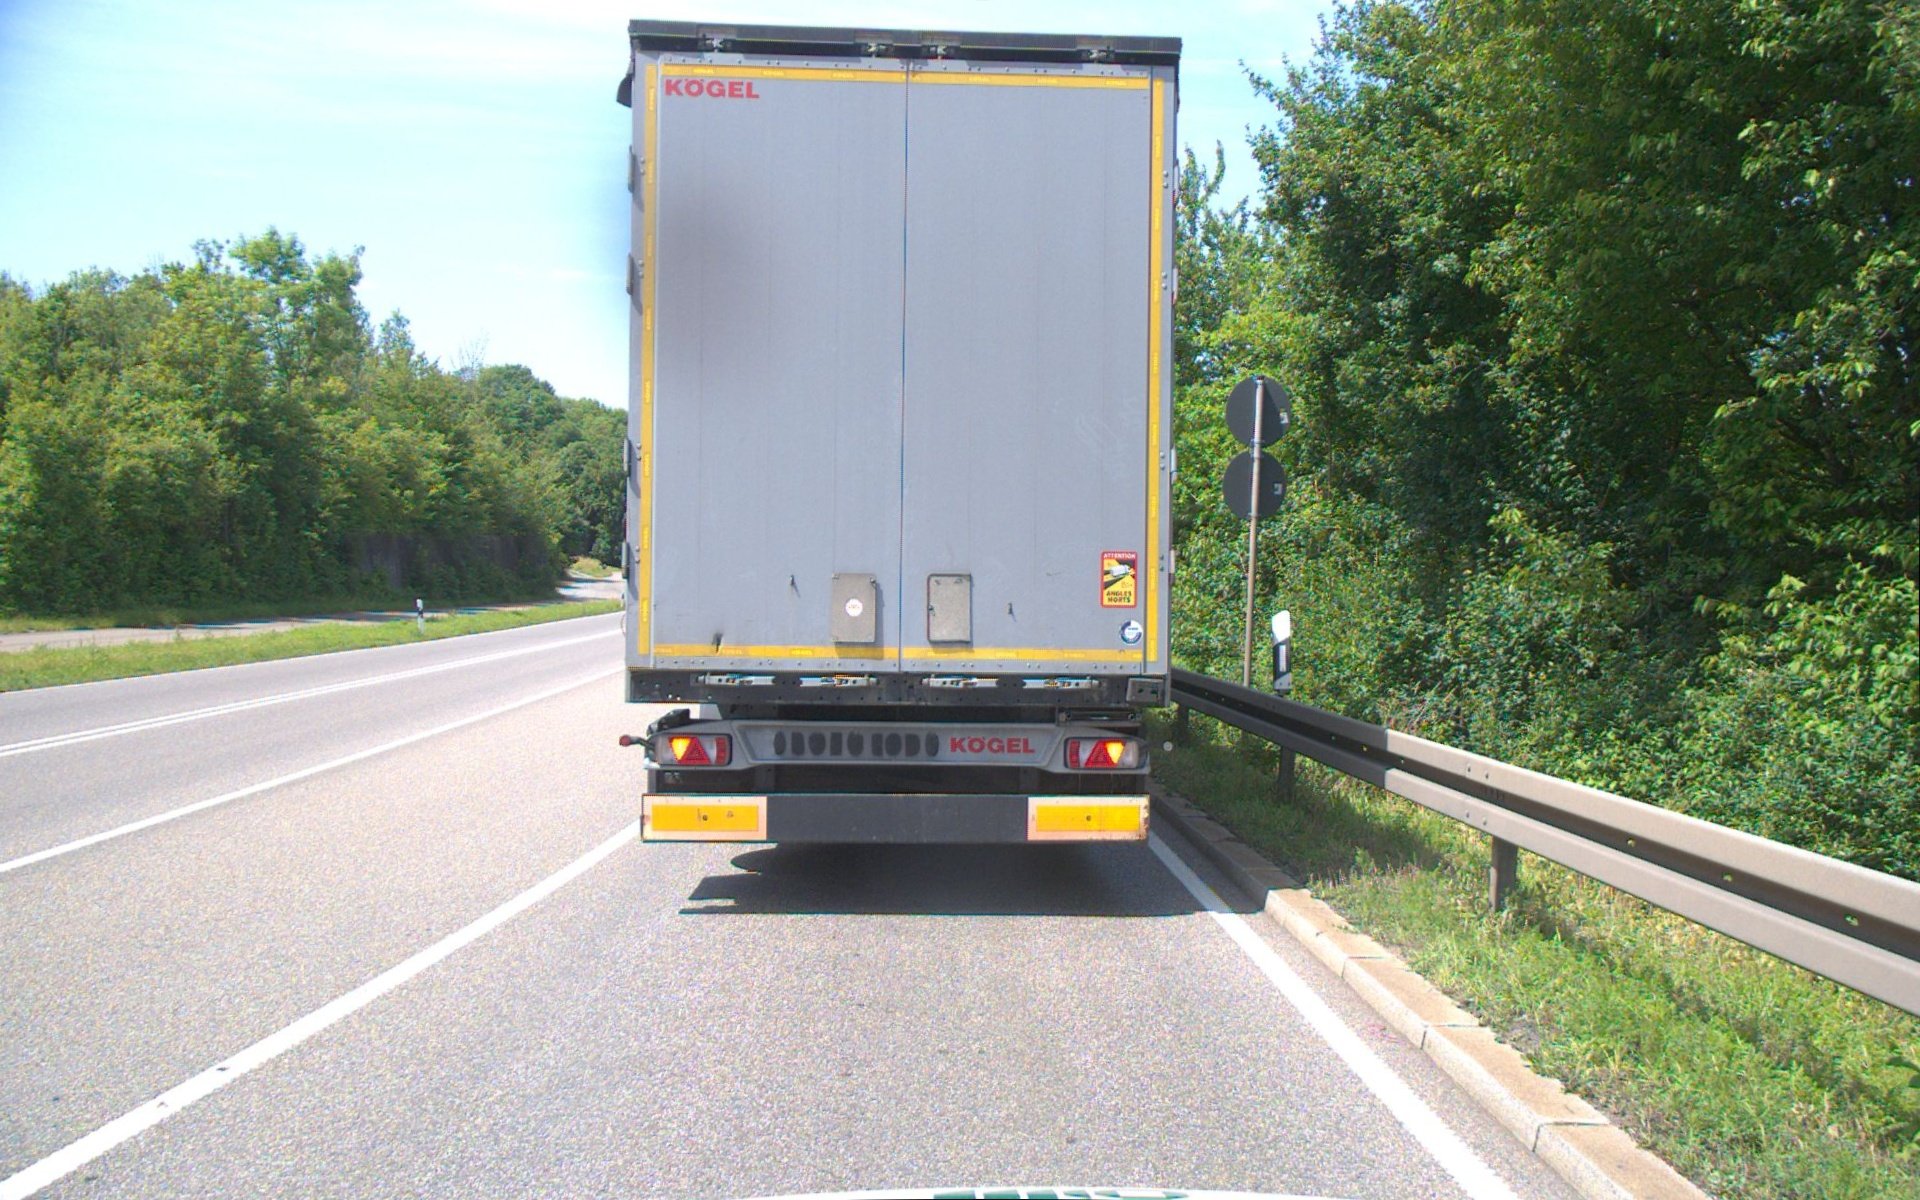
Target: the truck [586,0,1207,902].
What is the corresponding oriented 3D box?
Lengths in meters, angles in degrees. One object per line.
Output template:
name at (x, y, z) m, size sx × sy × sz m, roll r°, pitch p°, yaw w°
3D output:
truck at (-0.431, -0.785, 13.254) m, size 2.701 × 4.100 × 11.920 m, roll 1°, pitch 1°, yaw -2°
